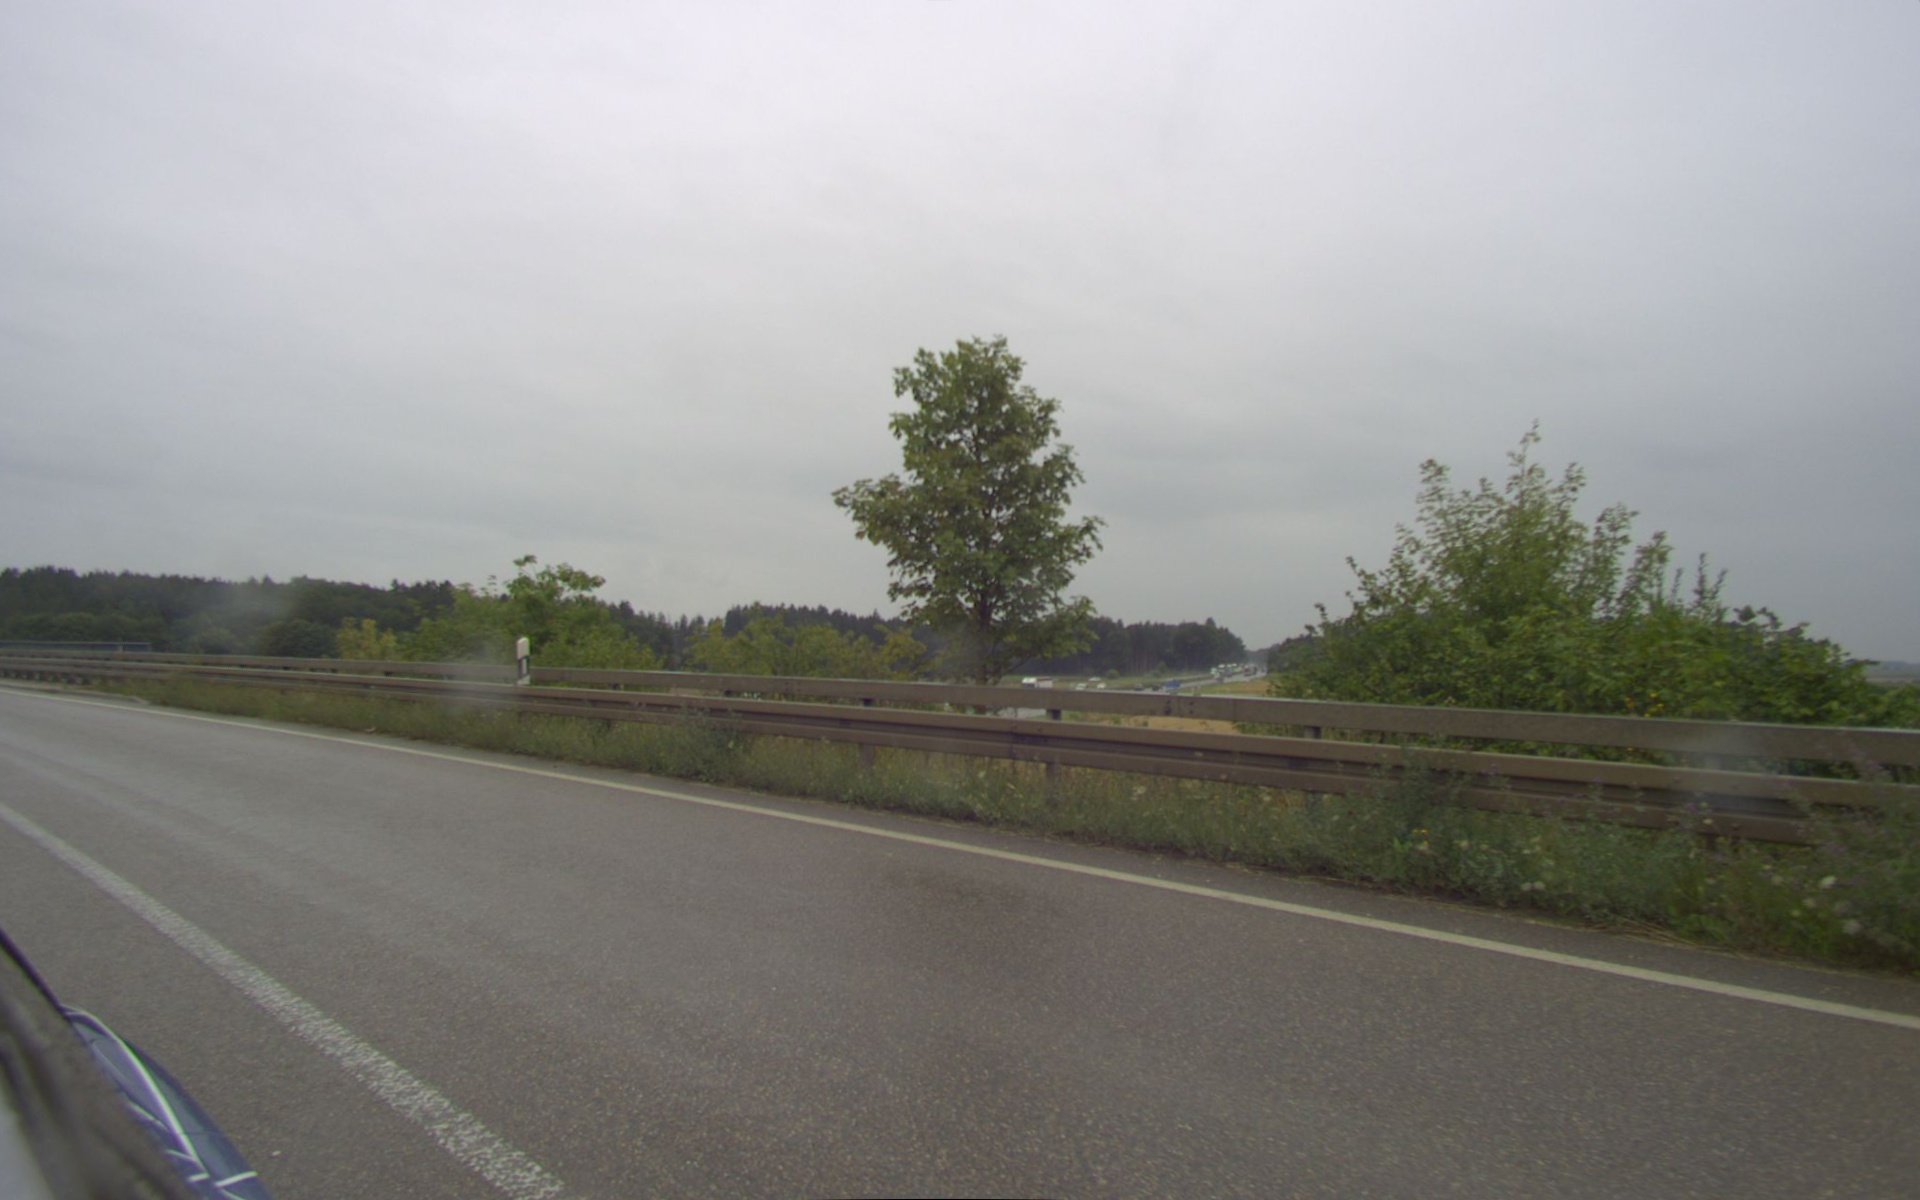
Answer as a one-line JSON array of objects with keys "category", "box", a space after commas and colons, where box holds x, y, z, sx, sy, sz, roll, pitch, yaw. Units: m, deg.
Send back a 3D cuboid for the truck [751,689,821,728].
[{"category": "truck", "box": [-20.570, 12.840, 120.689, 2.769, 3.899, 10.555, -1, -3, 24]}]
